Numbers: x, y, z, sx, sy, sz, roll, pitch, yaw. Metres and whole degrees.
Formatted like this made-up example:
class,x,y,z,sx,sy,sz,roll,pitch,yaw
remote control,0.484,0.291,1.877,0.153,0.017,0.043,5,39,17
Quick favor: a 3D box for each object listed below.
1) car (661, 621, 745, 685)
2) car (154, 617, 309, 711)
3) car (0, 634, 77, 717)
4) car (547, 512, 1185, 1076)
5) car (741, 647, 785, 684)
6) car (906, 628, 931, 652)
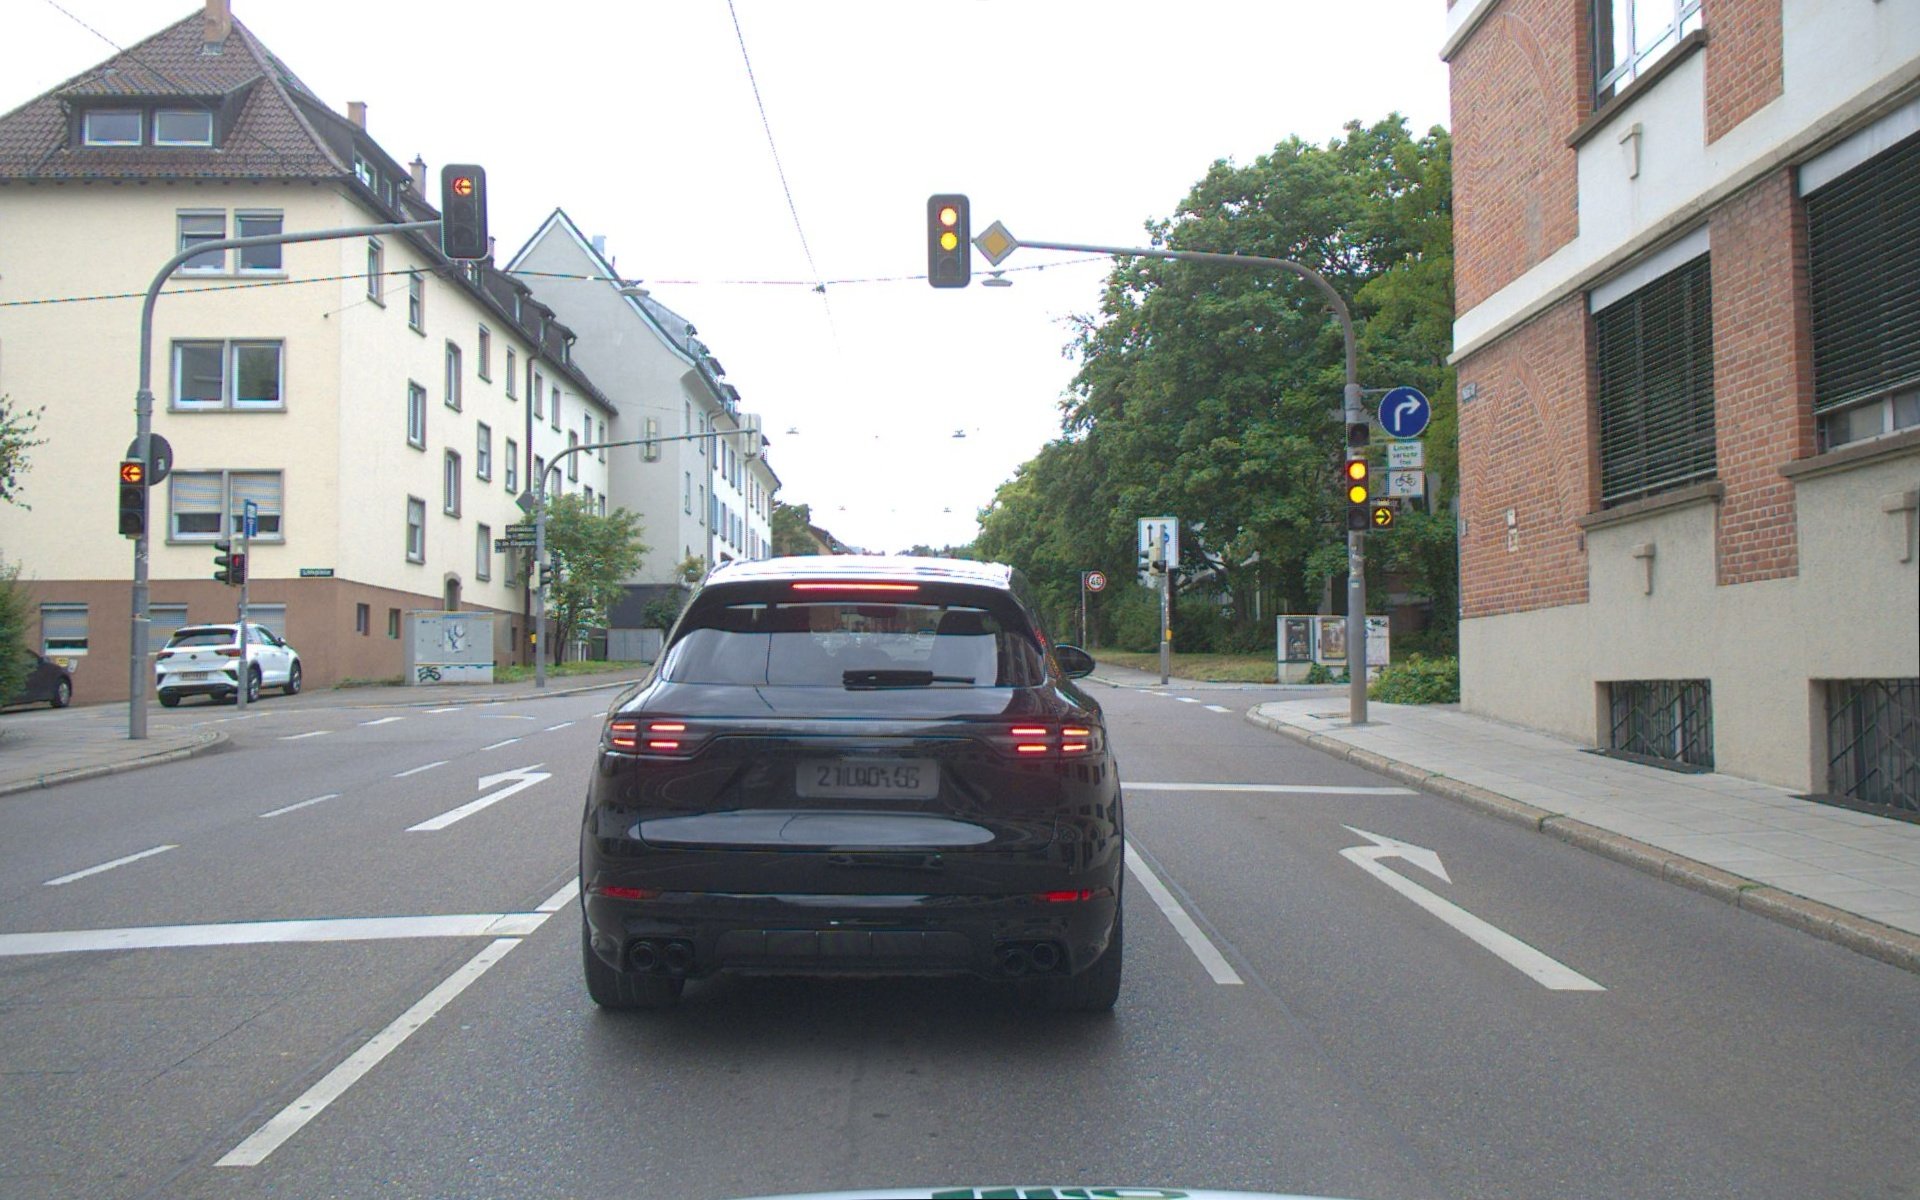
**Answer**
class,x,y,z,sx,sy,sz,roll,pitch,yaw
car,-7.013,1.427,45.415,1.630,1.545,3.739,-4,0,0
car,-14.774,1.240,33.754,1.638,1.691,3.995,-3,0,-5
car,-19.754,1.562,33.398,1.636,1.573,4.100,-3,0,-1
car,-0.315,0.614,7.142,1.953,1.726,3.999,1,0,-1
car,-8.247,2.718,69.449,1.637,1.386,3.997,0,0,-4
car,-2.848,2.727,113.415,1.654,1.579,3.887,1,0,-3
